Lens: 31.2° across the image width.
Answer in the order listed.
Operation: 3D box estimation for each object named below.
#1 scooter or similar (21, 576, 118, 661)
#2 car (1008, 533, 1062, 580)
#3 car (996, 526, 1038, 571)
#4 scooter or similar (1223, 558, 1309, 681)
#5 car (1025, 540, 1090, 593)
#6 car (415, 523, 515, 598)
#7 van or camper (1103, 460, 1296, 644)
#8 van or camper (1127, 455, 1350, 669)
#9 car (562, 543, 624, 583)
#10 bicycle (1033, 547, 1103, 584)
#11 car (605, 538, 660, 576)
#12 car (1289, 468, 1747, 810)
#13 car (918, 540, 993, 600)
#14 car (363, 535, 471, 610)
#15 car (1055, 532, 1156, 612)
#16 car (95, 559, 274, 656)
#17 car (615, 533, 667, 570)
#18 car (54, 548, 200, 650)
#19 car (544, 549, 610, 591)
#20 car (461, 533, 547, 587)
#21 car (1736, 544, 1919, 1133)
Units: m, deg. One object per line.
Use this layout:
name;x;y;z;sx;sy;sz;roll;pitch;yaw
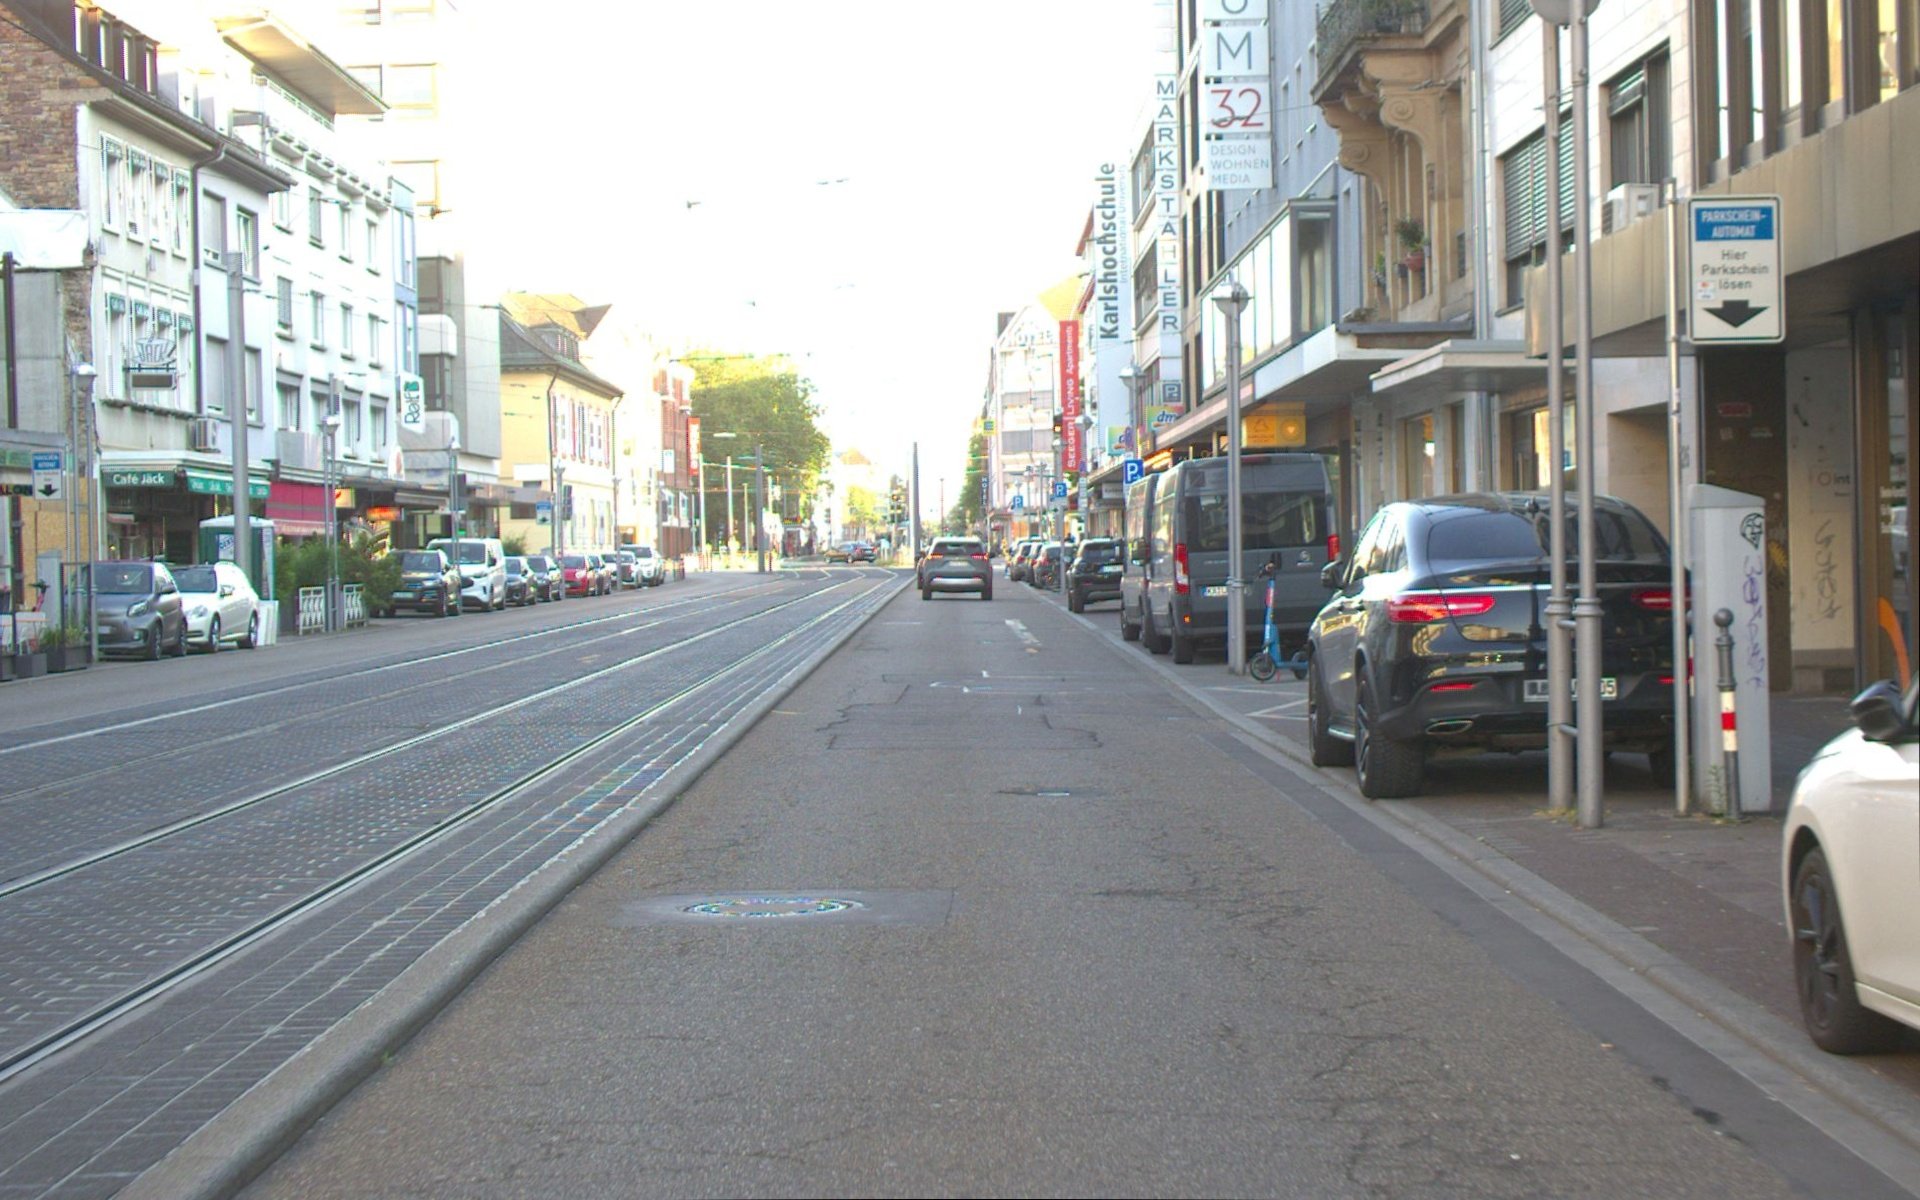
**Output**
scooter or similar;-12.940;0.270;49.965;1.314;1.201;0.294;1;1;1
car;2.874;-1.689;132.748;1.944;1.697;4.545;-3;1;1
car;2.823;-2.577;171.237;1.944;2.138;4.545;-3;1;1
scooter or similar;3.210;0.197;36.021;0.355;1.220;1.113;-3;1;33
car;3.094;-1.081;109.604;1.944;1.539;4.545;-3;1;1
car;-13.262;-1.067;92.336;1.917;1.929;4.842;1;1;0
van or camper;3.429;-0.707;50.266;2.188;2.418;5.518;-3;1;-1
van or camper;3.464;-0.502;43.954;2.188;2.418;6.133;-3;1;0
car;-12.970;-1.317;121.683;1.791;1.334;3.892;1;1;-1
bicycle;3.374;-1.082;107.530;2.118;1.086;0.592;-1;1;-2
car;-12.840;-1.700;134.951;1.791;1.444;3.892;1;1;-1
car;3.223;0.168;20.810;1.984;1.728;4.671;-3;1;1
car;-0.097;-0.816;92.341;1.944;1.539;4.545;0;1;1
car;-13.333;-0.697;84.636;1.917;1.757;4.430;1;1;0
car;3.054;-0.622;73.009;1.944;1.539;4.545;-3;1;1
car;-12.956;0.087;57.701;1.849;1.499;4.842;1;1;0
car;-13.054;-1.992;140.990;1.791;1.444;3.892;1;1;-1
car;-12.855;-0.031;53.178;1.591;1.499;2.813;1;1;-1
car;-12.951;-1.034;116.421;1.791;1.334;3.892;1;1;-1
car;-13.273;-1.176;100.269;1.917;1.516;4.630;1;1;-1
car;3.300;0.580;8.559;1.766;1.480;3.872;-3;1;0
